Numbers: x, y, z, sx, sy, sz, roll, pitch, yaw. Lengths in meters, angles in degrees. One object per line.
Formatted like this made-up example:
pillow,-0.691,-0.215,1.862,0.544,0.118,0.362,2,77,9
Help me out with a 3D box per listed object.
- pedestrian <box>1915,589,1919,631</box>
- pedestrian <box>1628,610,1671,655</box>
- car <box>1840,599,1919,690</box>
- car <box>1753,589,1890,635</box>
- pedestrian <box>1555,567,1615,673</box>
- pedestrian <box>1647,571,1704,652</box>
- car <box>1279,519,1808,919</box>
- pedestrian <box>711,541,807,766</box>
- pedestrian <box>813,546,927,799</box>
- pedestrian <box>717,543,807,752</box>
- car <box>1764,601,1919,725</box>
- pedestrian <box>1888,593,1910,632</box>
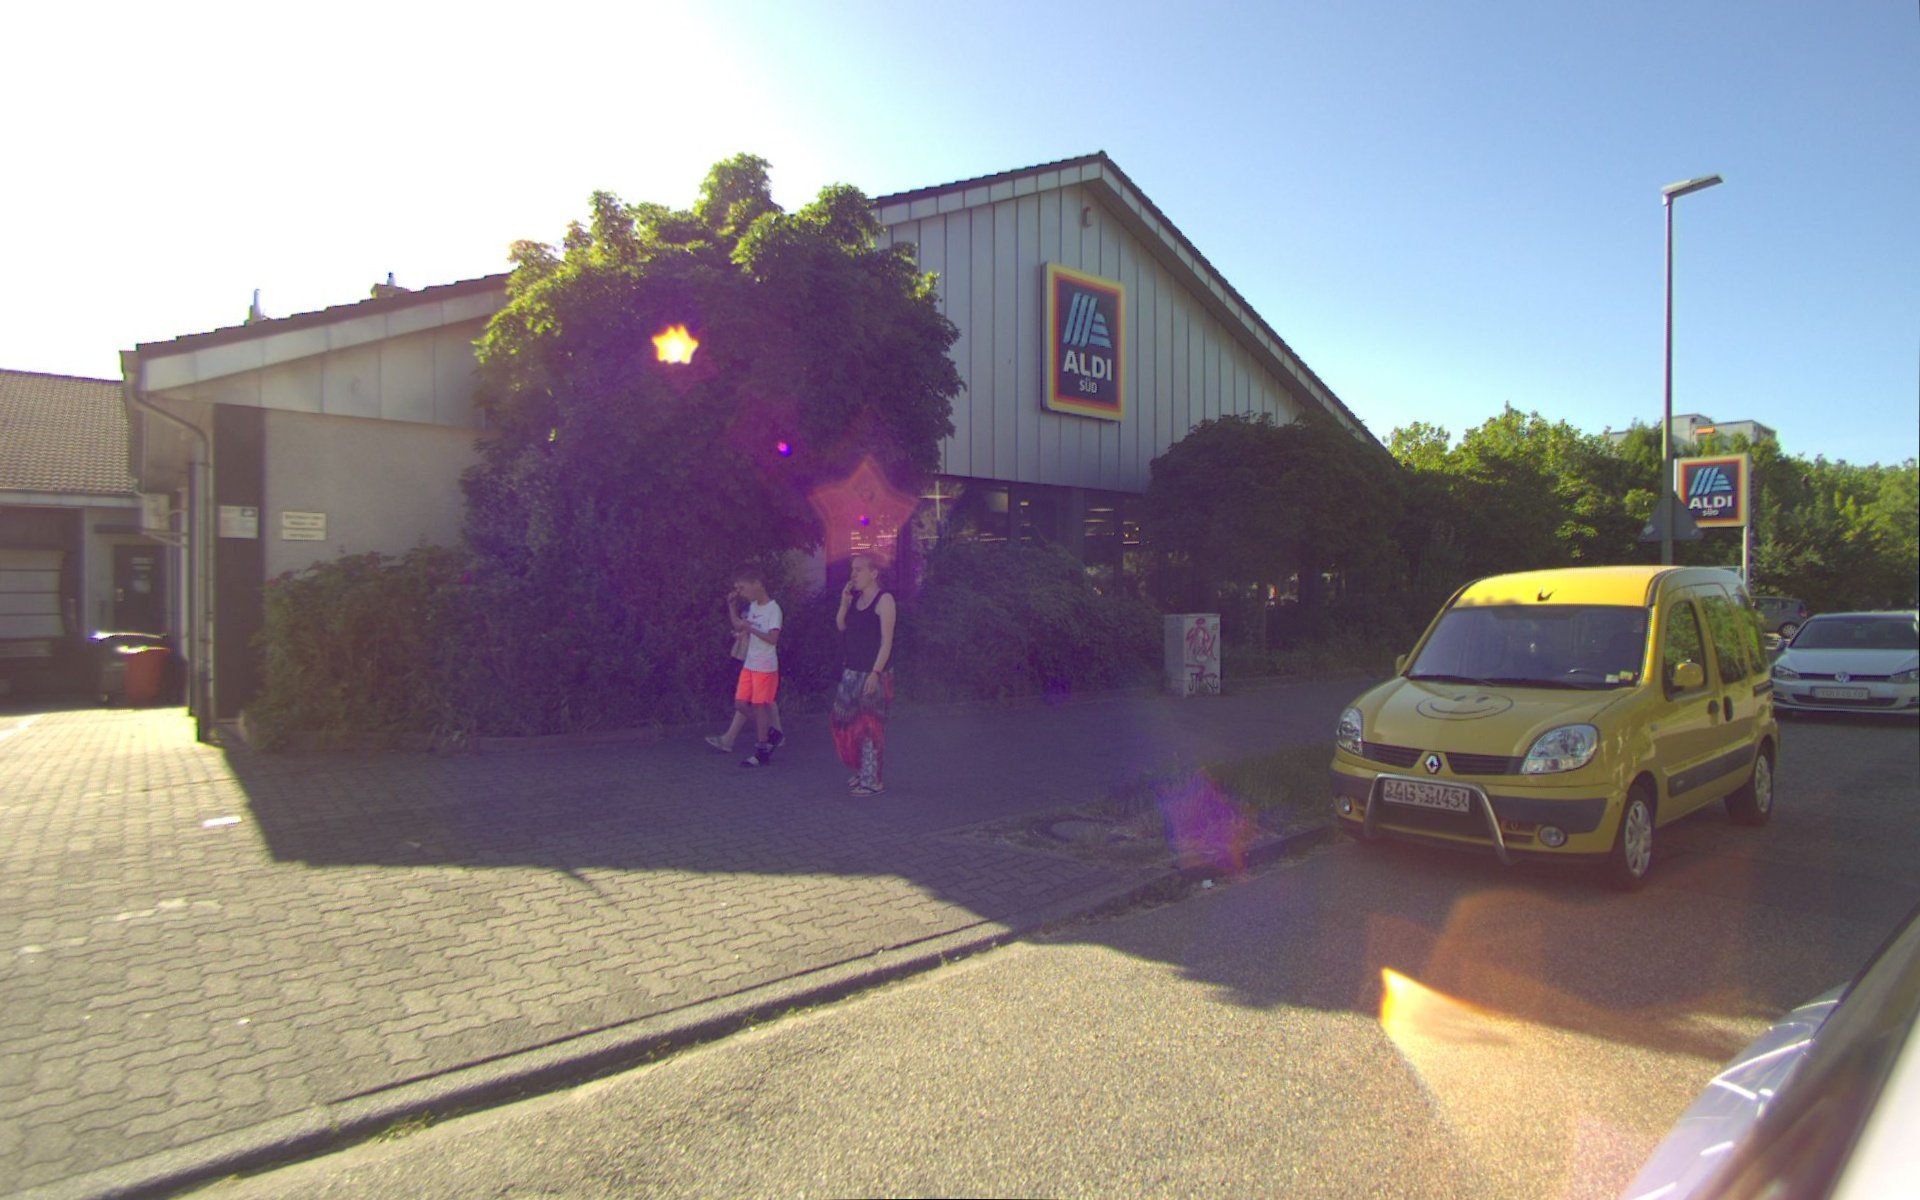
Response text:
pedestrian,40.520,0.419,42.268,0.967,1.737,0.805,-2,3,-43
pedestrian,15.594,0.727,22.876,0.794,0.993,0.534,0,0,-32
car,17.127,0.729,17.818,4.285,1.462,1.811,0,0,-40
car,32.894,0.421,38.782,3.728,1.665,1.835,1,1,33
pedestrian,11.455,0.347,18.544,0.793,1.885,0.861,0,0,43
pedestrian,16.390,0.255,23.188,0.793,1.804,0.802,1,0,-32
car,3.969,0.530,6.630,3.928,1.860,1.728,0,1,-39
pedestrian,-1.560,0.391,7.846,0.536,1.657,0.569,1,0,-34
pedestrian,-0.630,0.466,7.015,0.536,1.657,0.569,1,2,-34
pedestrian,-1.652,0.374,8.426,0.536,1.657,0.569,1,0,-34
car,12.789,0.770,14.110,3.931,1.470,1.829,-1,1,-41
pedestrian,39.841,0.517,42.926,0.779,1.629,0.573,-2,3,-43
